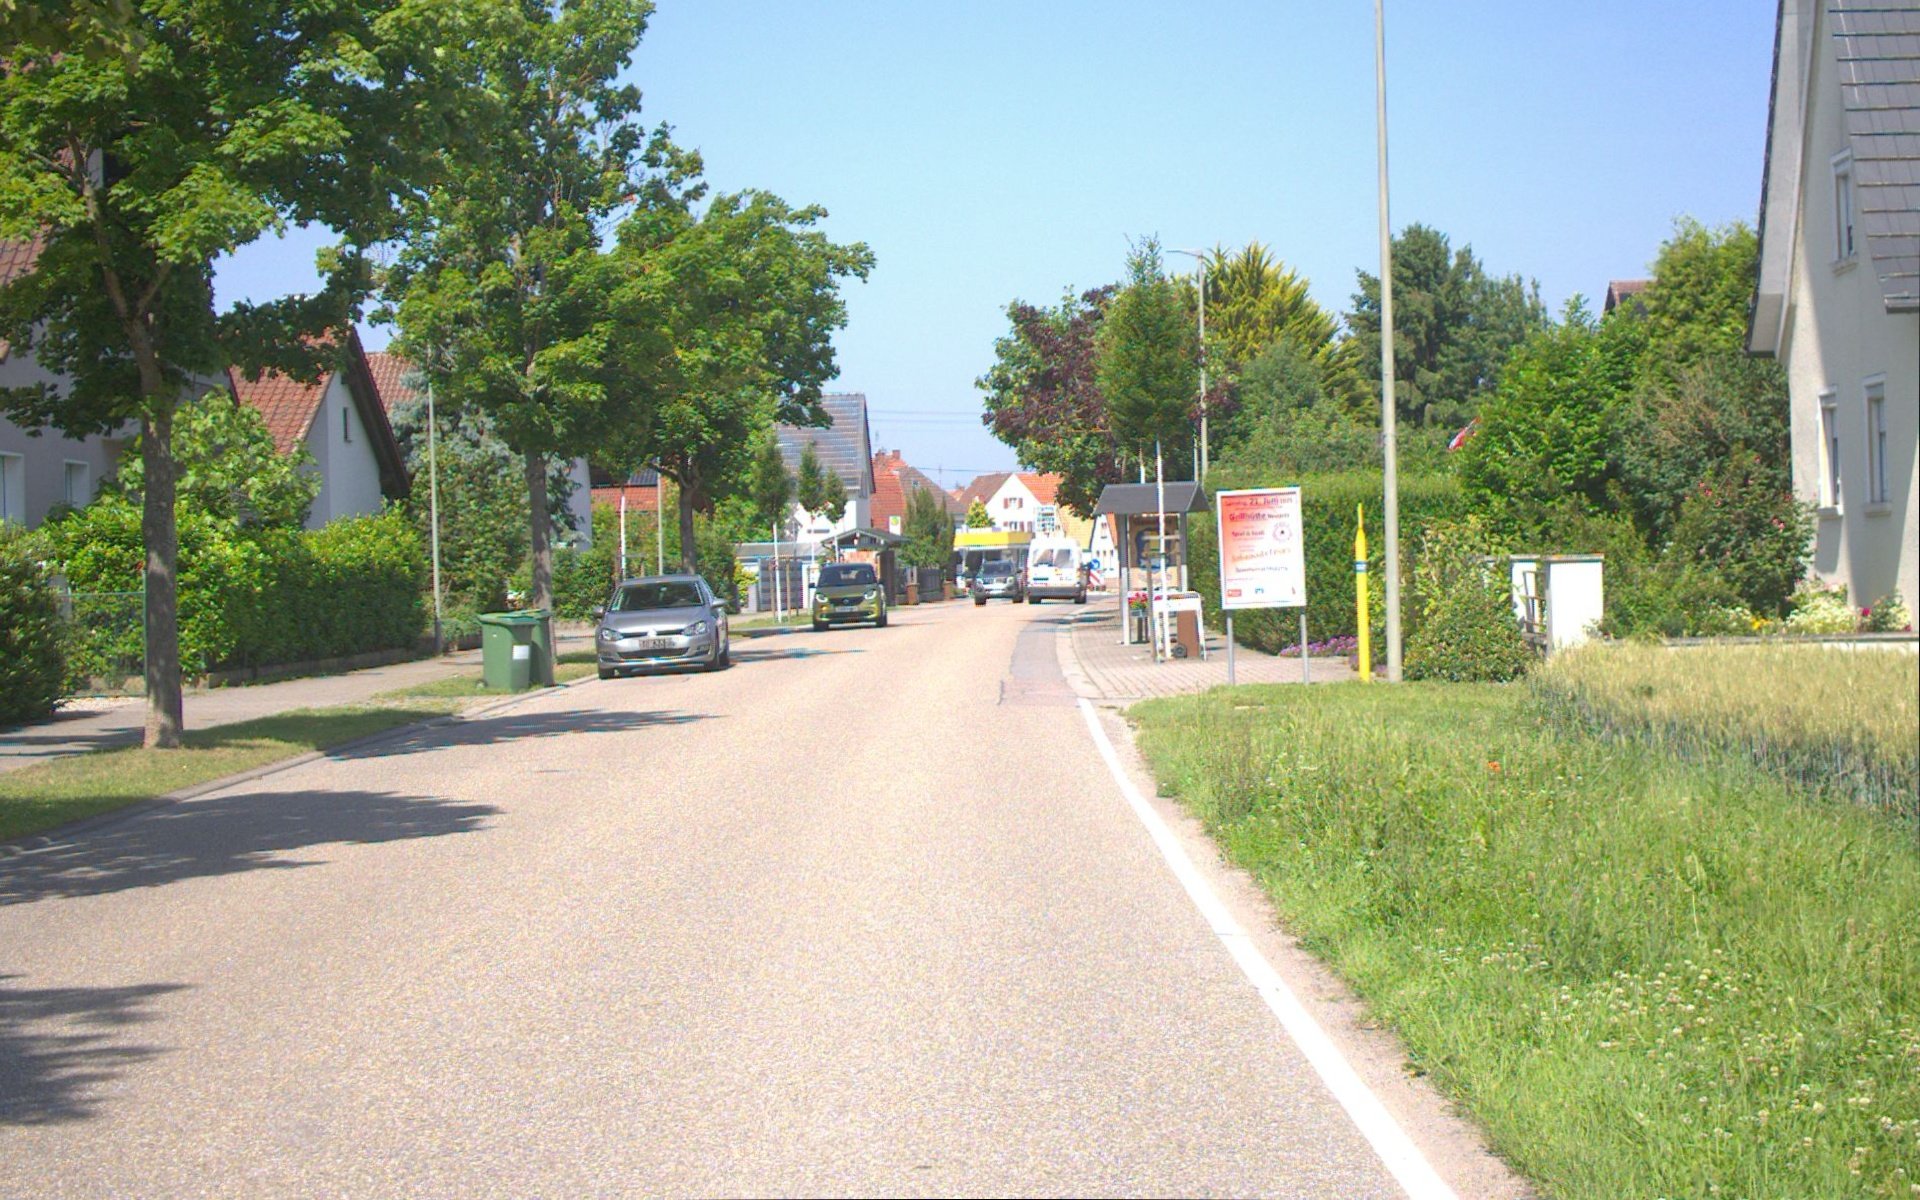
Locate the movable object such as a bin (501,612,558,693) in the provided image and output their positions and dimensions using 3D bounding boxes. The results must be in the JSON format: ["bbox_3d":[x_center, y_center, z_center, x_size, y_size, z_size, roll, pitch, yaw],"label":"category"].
[{"bbox_3d":[-5.825,0.703,46.544,0.575,1.075,0.598,-1,0,14],"label":"movable object such as a bin"}]

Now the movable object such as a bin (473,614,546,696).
[{"bbox_3d":[-6.010,0.736,45.896,0.714,1.075,0.639,-1,0,26],"label":"movable object such as a bin"}]

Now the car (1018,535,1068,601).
[{"bbox_3d":[3.140,-1.227,130.707,1.737,2.424,4.374,-2,0,0],"label":"car"}]

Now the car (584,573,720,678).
[{"bbox_3d":[-4.556,0.354,51.276,1.647,1.419,4.080,-3,0,-1],"label":"car"}]

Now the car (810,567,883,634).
[{"bbox_3d":[-2.720,0.001,82.218,1.666,1.519,3.443,-2,0,-2],"label":"car"}]

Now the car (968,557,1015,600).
[{"bbox_3d":[1.297,-0.902,143.653,1.835,1.747,3.796,-1,1,-1],"label":"car"}]
